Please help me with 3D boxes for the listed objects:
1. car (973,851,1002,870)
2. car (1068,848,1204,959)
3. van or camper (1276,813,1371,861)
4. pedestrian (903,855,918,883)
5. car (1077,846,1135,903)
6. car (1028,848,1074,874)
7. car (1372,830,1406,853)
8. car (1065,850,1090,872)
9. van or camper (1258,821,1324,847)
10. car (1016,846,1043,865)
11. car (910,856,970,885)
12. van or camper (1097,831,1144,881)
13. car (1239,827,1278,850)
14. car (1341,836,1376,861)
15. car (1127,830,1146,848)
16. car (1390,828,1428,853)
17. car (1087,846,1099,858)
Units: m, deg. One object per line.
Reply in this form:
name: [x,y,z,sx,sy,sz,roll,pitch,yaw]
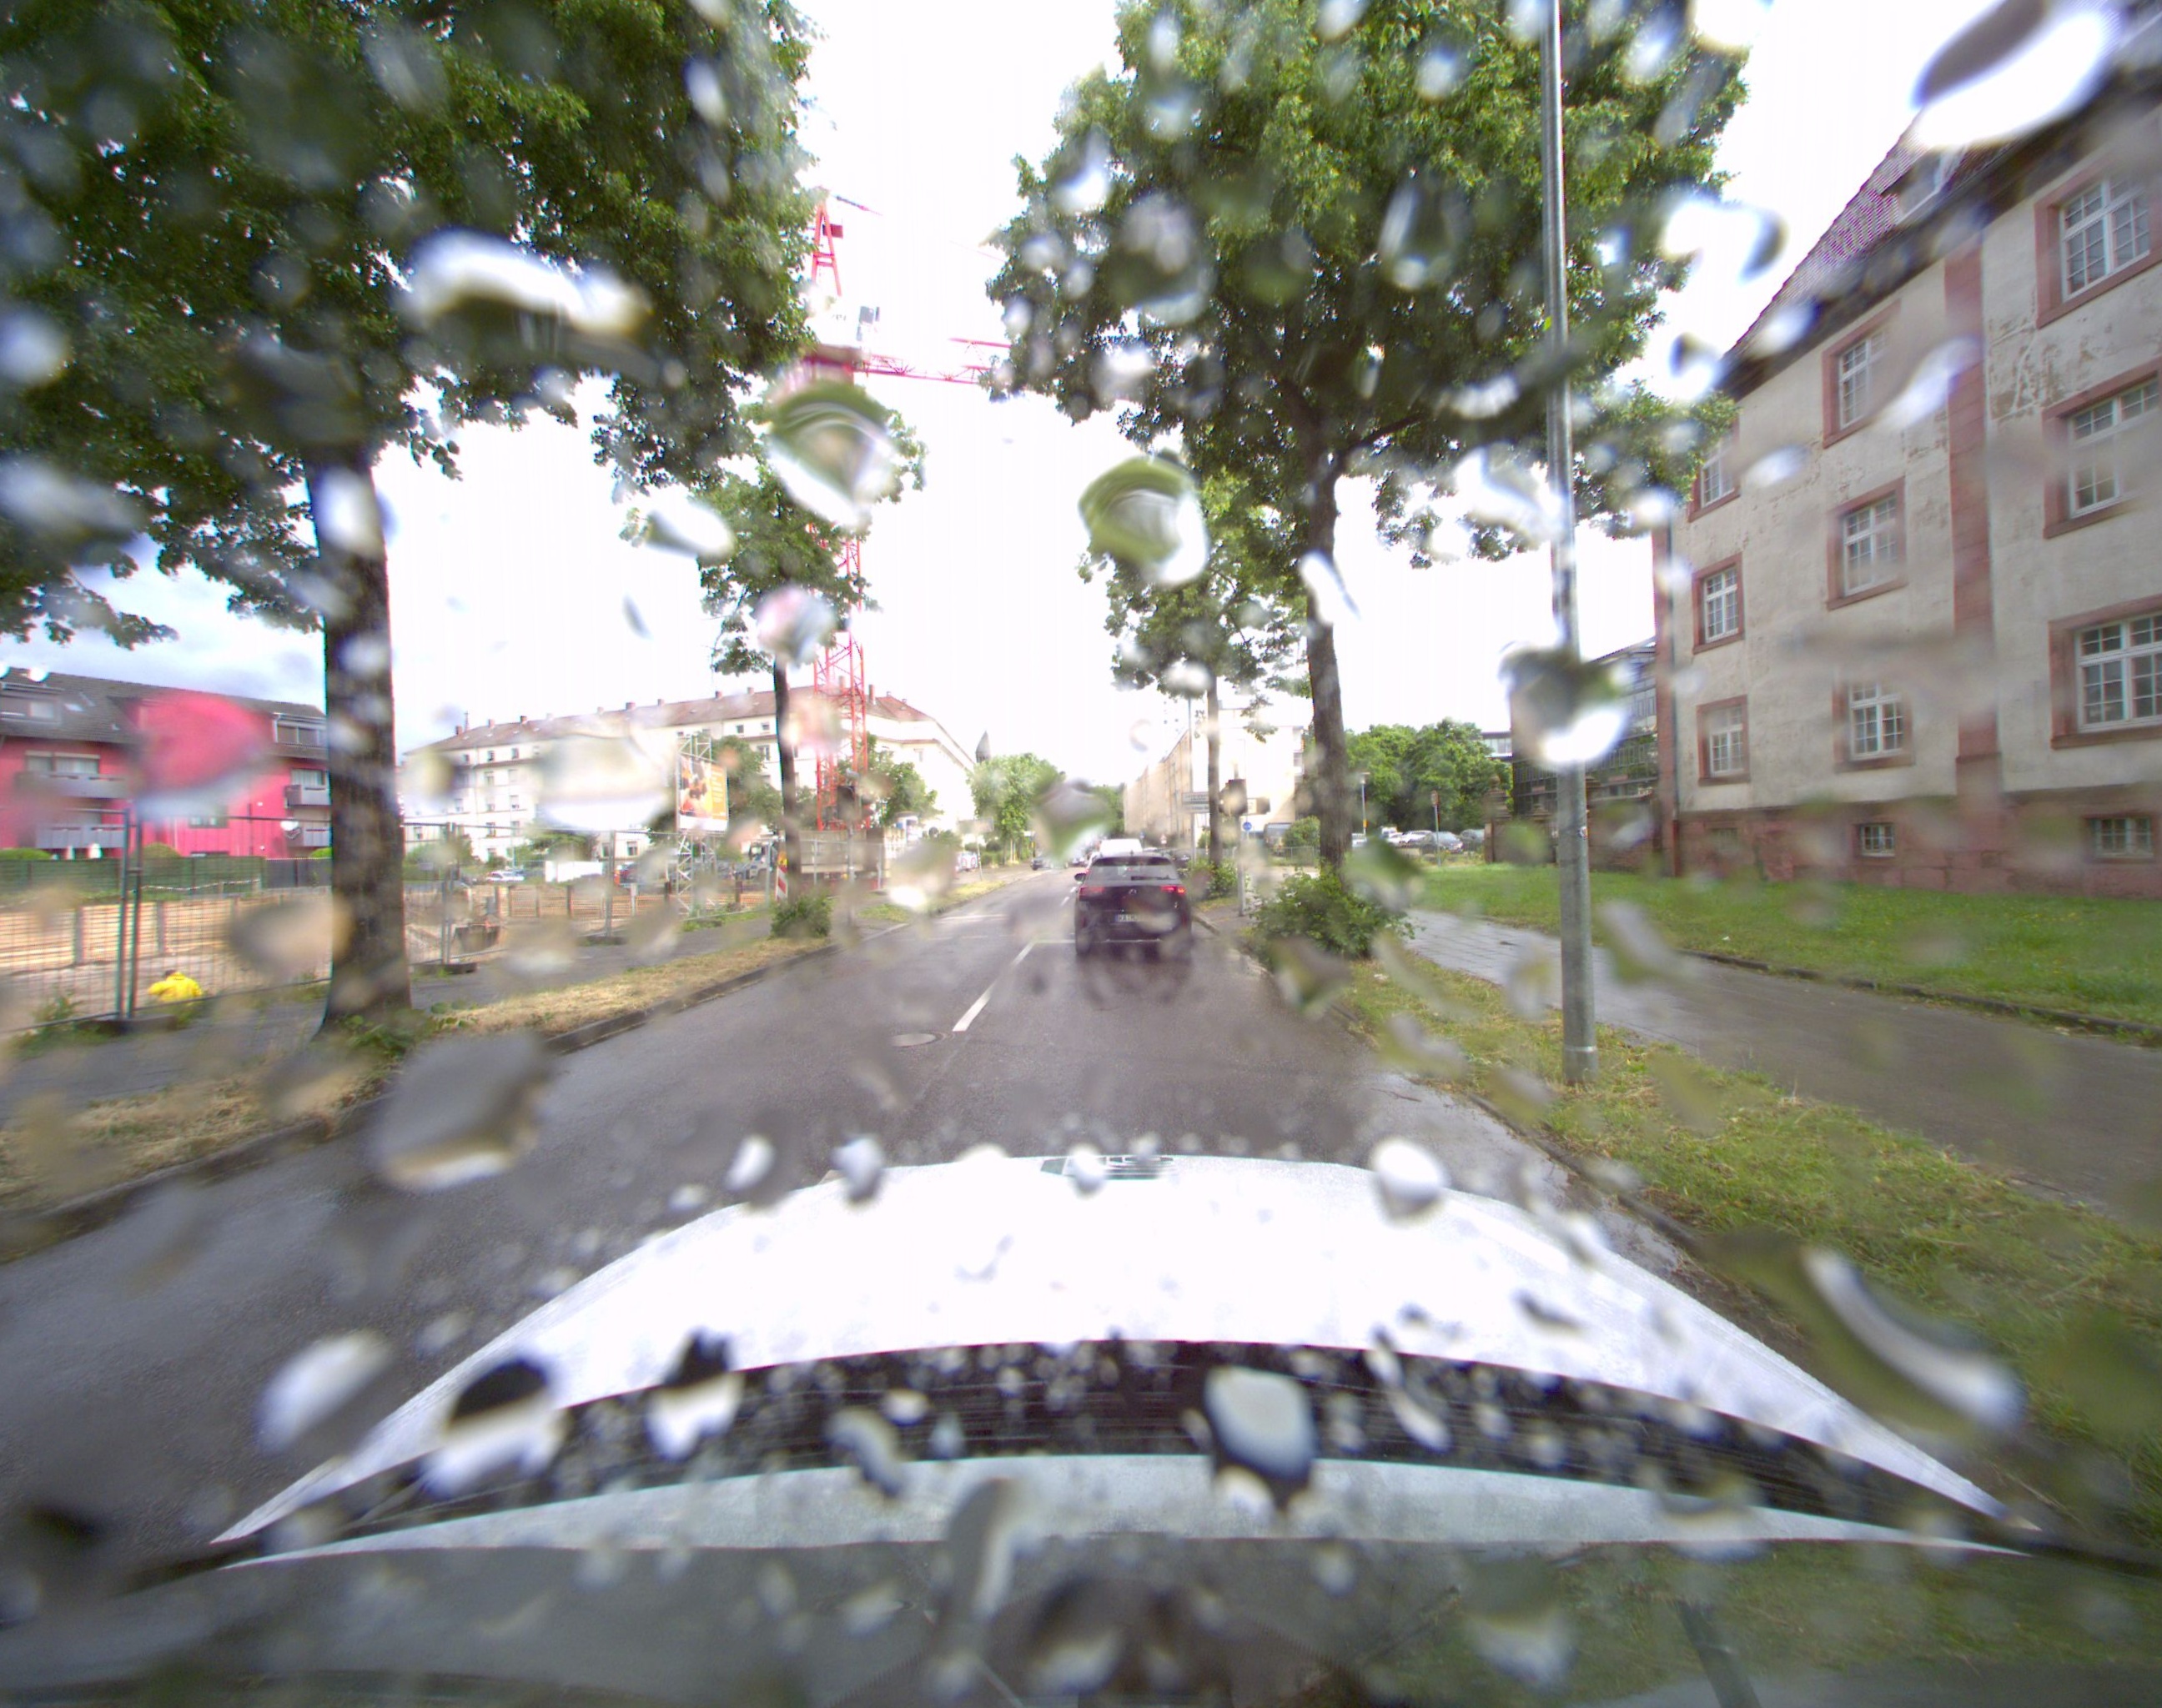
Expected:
car: [-8.380,0.545,72.993,1.582,1.512,3.740,-5,0,8]
car: [0.878,0.687,13.546,1.887,1.522,4.003,-2,0,3]
van or camper: [14.585,-1.013,49.129,5.016,2.595,2.168,-3,0,0]
pedestrian: [-9.408,0.827,44.834,0.663,1.485,0.668,-2,1,-23]
car: [0.935,0.672,28.127,1.672,1.708,3.915,-5,-1,5]
car: [-2.268,0.528,62.697,1.774,1.683,4.509,-5,0,20]
car: [29.254,-1.173,77.455,1.984,2.013,4.007,-5,0,6]
car: [-0.245,0.584,70.505,1.782,1.683,4.139,-5,0,3]
van or camper: [17.069,-1.603,66.272,4.855,1.925,2.133,-2,1,2]
car: [-4.726,0.110,75.100,1.582,1.512,3.740,-5,0,8]
car: [-10.036,1.169,57.803,3.933,1.651,1.749,-5,0,-18]
van or camper: [1.694,0.060,34.573,1.812,1.947,4.199,-1,0,3]
car: [16.526,-1.441,76.033,3.386,1.781,1.765,-5,0,10]
car: [21.056,-0.438,61.986,1.733,1.683,3.879,-5,0,8]
car: [6.460,-1.753,94.715,1.986,2.013,4.002,-2,0,2]
car: [28.933,-1.160,71.939,1.984,2.013,4.007,-5,0,6]
car: [1.708,-0.262,116.654,1.585,1.512,3.732,-5,0,1]
